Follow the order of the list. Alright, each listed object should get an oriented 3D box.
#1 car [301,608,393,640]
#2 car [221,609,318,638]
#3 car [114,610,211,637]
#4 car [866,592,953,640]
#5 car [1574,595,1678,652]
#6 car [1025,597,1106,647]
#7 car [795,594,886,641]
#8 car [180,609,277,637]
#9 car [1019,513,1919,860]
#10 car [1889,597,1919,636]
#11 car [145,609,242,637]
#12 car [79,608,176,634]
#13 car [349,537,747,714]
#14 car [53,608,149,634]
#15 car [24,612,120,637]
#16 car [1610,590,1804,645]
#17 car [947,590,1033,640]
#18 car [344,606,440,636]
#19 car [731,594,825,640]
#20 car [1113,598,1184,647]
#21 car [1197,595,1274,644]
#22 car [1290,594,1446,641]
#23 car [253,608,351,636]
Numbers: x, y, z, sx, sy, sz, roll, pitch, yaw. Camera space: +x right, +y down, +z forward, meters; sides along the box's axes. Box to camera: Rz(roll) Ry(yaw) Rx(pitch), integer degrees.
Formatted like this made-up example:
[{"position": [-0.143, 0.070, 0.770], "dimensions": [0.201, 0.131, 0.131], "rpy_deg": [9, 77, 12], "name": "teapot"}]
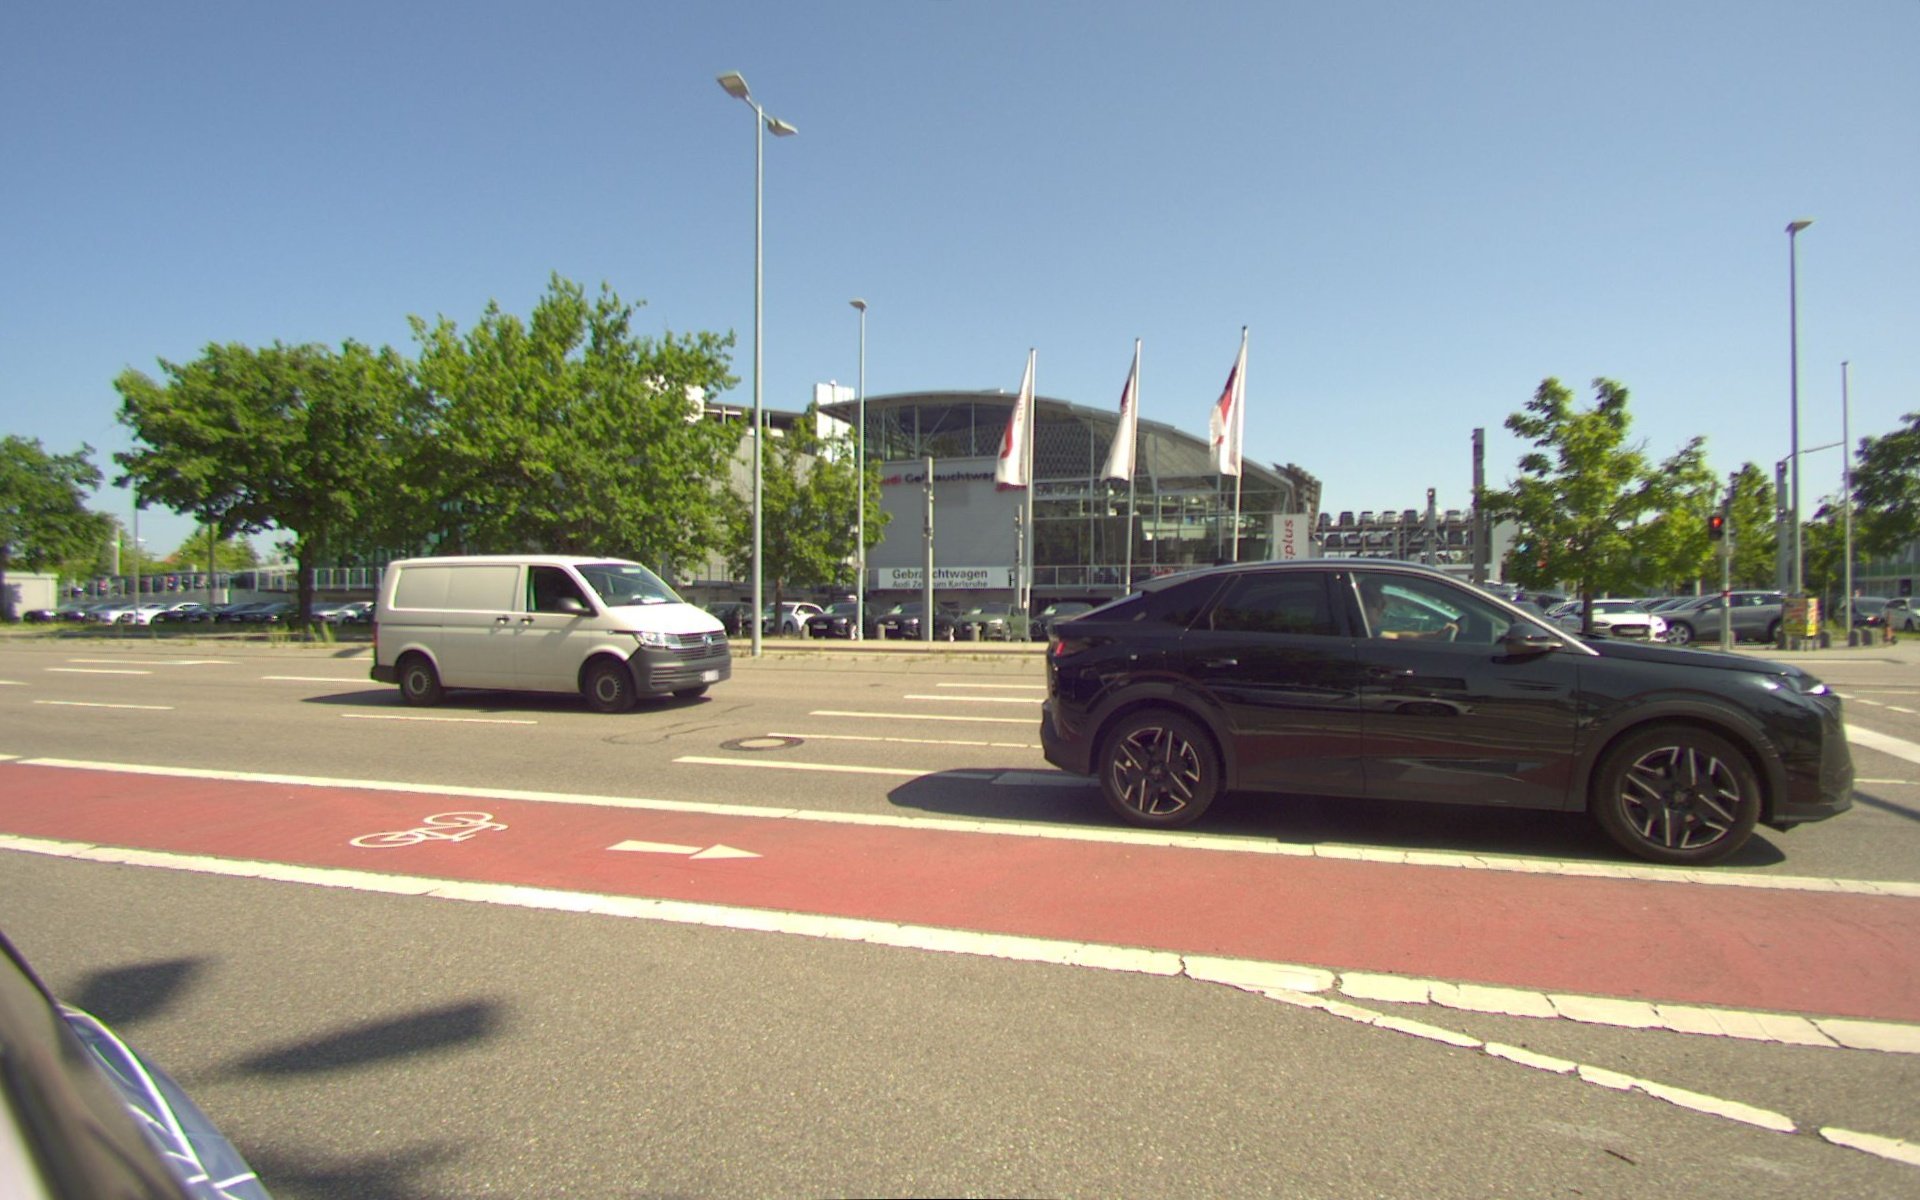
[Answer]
[{"position": [-27.121, 1.058, 44.841], "dimensions": [1.632, 1.334, 3.144], "rpy_deg": [-1, -1, 25], "name": "car"}, {"position": [-31.748, 1.065, 46.614], "dimensions": [1.586, 1.258, 3.388], "rpy_deg": [-1, -1, 25], "name": "car"}, {"position": [-38.995, 1.127, 49.573], "dimensions": [1.586, 1.258, 3.388], "rpy_deg": [-1, -1, 25], "name": "car"}, {"position": [-1.693, 0.561, 35.283], "dimensions": [1.772, 1.585, 3.865], "rpy_deg": [0, -1, 18], "name": "car"}, {"position": [18.470, 0.604, 28.223], "dimensions": [1.878, 1.472, 3.965], "rpy_deg": [-1, 0, 26], "name": "car"}, {"position": [3.550, 0.725, 33.486], "dimensions": [1.873, 1.558, 3.865], "rpy_deg": [0, -1, 18], "name": "car"}, {"position": [-4.197, 0.628, 36.120], "dimensions": [1.772, 1.585, 3.865], "rpy_deg": [0, -1, 18], "name": "car"}, {"position": [-34.322, 1.056, 47.579], "dimensions": [1.586, 1.258, 3.388], "rpy_deg": [-1, -1, 25], "name": "car"}, {"position": [2.762, 0.460, 6.331], "dimensions": [4.469, 1.639, 1.704], "rpy_deg": [-2, 0, 20], "name": "car"}, {"position": [39.250, 0.636, 40.618], "dimensions": [1.906, 1.504, 3.829], "rpy_deg": [-1, 0, 27], "name": "car"}, {"position": [-36.843, 1.096, 48.711], "dimensions": [1.586, 1.258, 3.388], "rpy_deg": [-1, -1, 25], "name": "car"}, {"position": [-41.501, 1.054, 50.532], "dimensions": [1.586, 1.258, 3.388], "rpy_deg": [-1, -1, 25], "name": "car"}, {"position": [-5.402, 0.303, 13.263], "dimensions": [4.962, 2.022, 1.730], "rpy_deg": [0, 0, 20], "name": "car"}, {"position": [-43.660, 1.054, 51.505], "dimensions": [1.586, 1.258, 3.388], "rpy_deg": [-1, -1, 25], "name": "car"}, {"position": [-45.793, 1.233, 52.265], "dimensions": [1.586, 1.258, 3.388], "rpy_deg": [-1, -1, 25], "name": "car"}, {"position": [23.002, 0.538, 31.385], "dimensions": [4.452, 1.599, 1.965], "rpy_deg": [0, -1, 23], "name": "car"}, {"position": [1.074, 0.518, 34.389], "dimensions": [1.915, 1.574, 3.865], "rpy_deg": [0, -1, 18], "name": "car"}, {"position": [-24.714, 0.912, 44.132], "dimensions": [1.586, 1.258, 3.388], "rpy_deg": [-1, -1, 25], "name": "car"}, {"position": [-6.593, 0.610, 37.057], "dimensions": [1.772, 1.585, 3.865], "rpy_deg": [0, -1, 18], "name": "car"}, {"position": [6.123, 0.701, 32.589], "dimensions": [1.772, 1.482, 3.865], "rpy_deg": [0, -1, 18], "name": "car"}, {"position": [8.680, 0.596, 31.668], "dimensions": [1.991, 1.432, 4.086], "rpy_deg": [0, -1, 20], "name": "car"}, {"position": [12.442, 0.540, 31.123], "dimensions": [4.318, 1.360, 1.810], "rpy_deg": [0, -1, 20], "name": "car"}, {"position": [-29.762, 0.987, 45.867], "dimensions": [1.586, 1.258, 3.388], "rpy_deg": [-1, -1, 25], "name": "car"}]
